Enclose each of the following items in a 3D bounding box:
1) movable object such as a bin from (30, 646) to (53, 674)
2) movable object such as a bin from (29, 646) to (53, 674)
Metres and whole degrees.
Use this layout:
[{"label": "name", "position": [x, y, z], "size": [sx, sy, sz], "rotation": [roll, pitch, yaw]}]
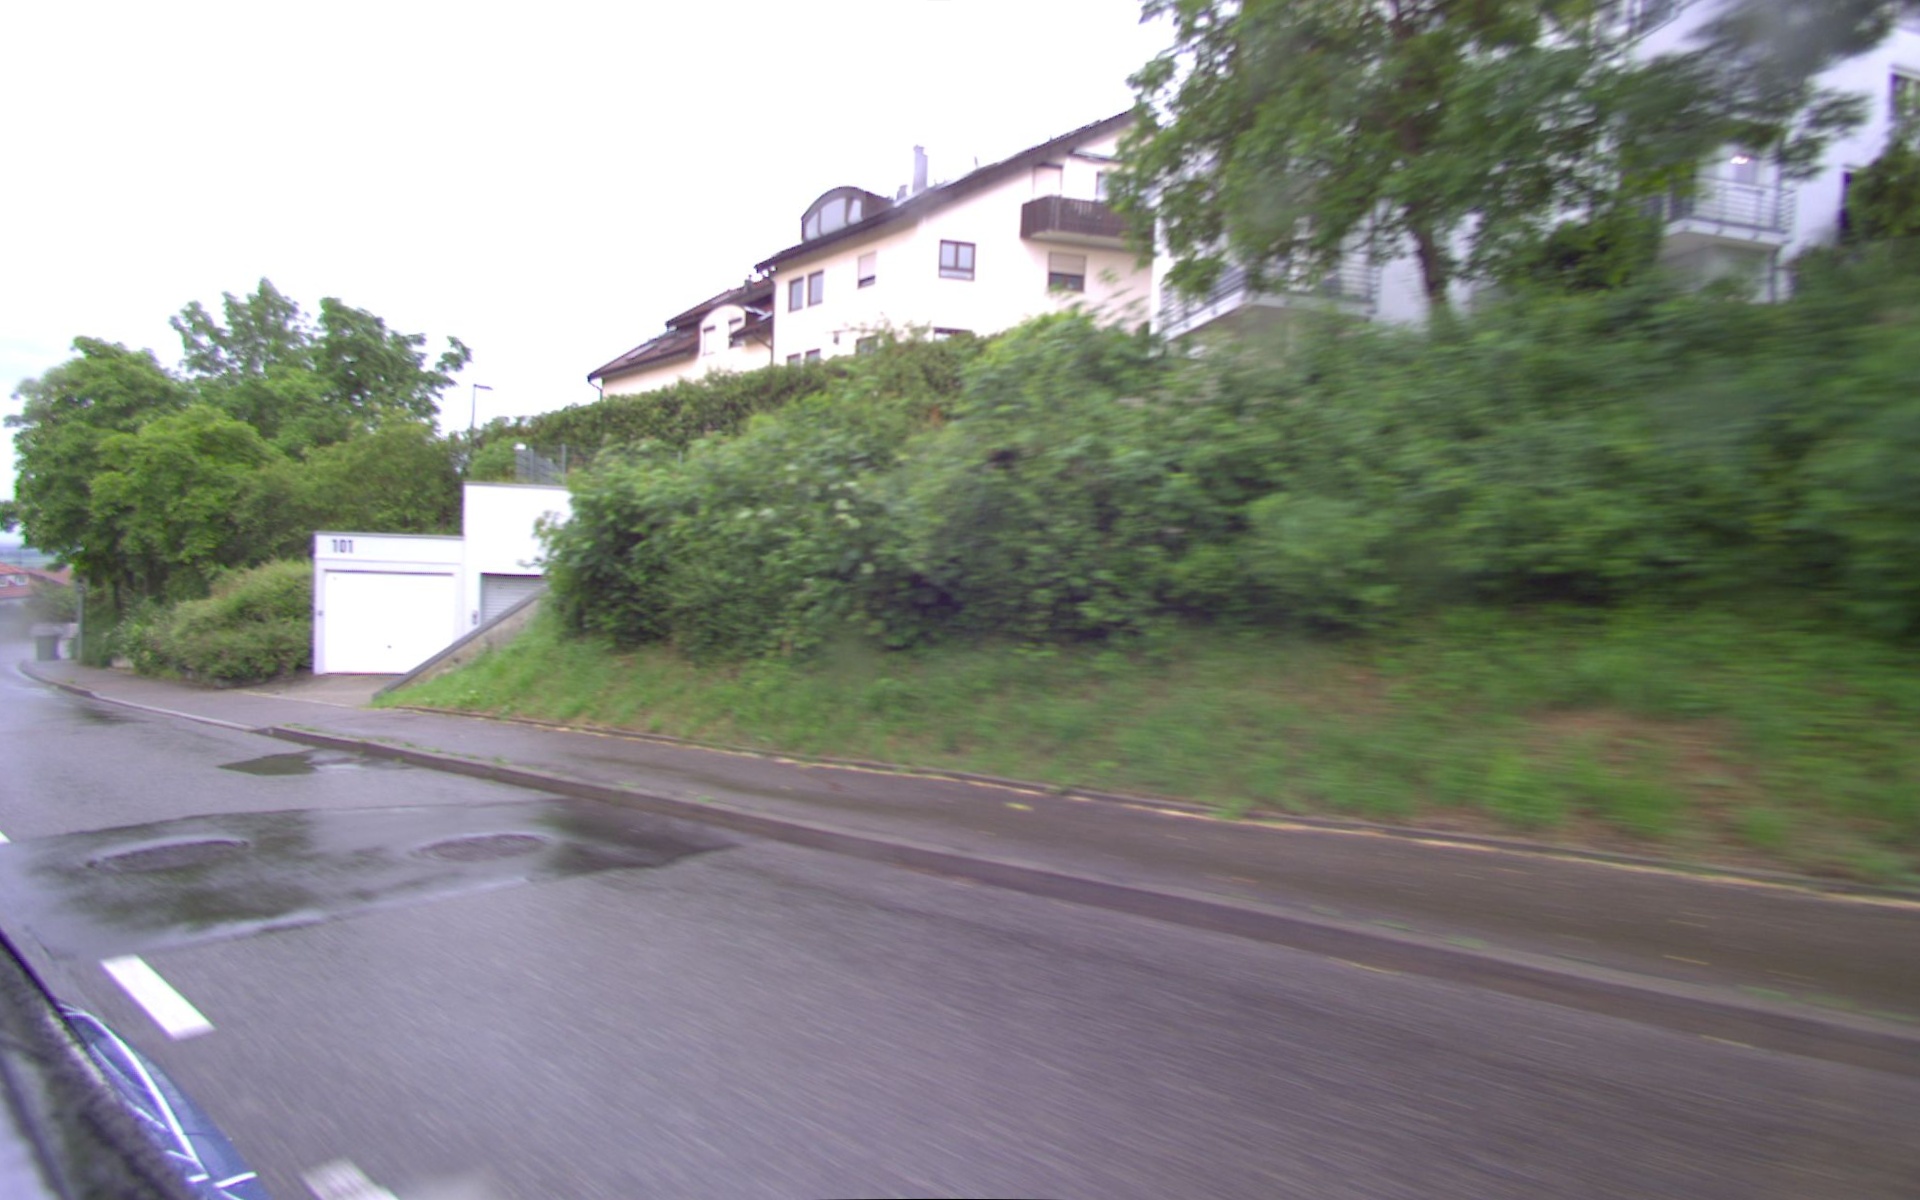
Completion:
[{"label": "movable object such as a bin", "position": [-37.134, 2.427, 40.936], "size": [0.640, 1.112, 0.674], "rotation": [3, -4, -41]}, {"label": "movable object such as a bin", "position": [-36.697, 2.397, 40.412], "size": [0.640, 1.124, 0.506], "rotation": [3, -4, -41]}]
